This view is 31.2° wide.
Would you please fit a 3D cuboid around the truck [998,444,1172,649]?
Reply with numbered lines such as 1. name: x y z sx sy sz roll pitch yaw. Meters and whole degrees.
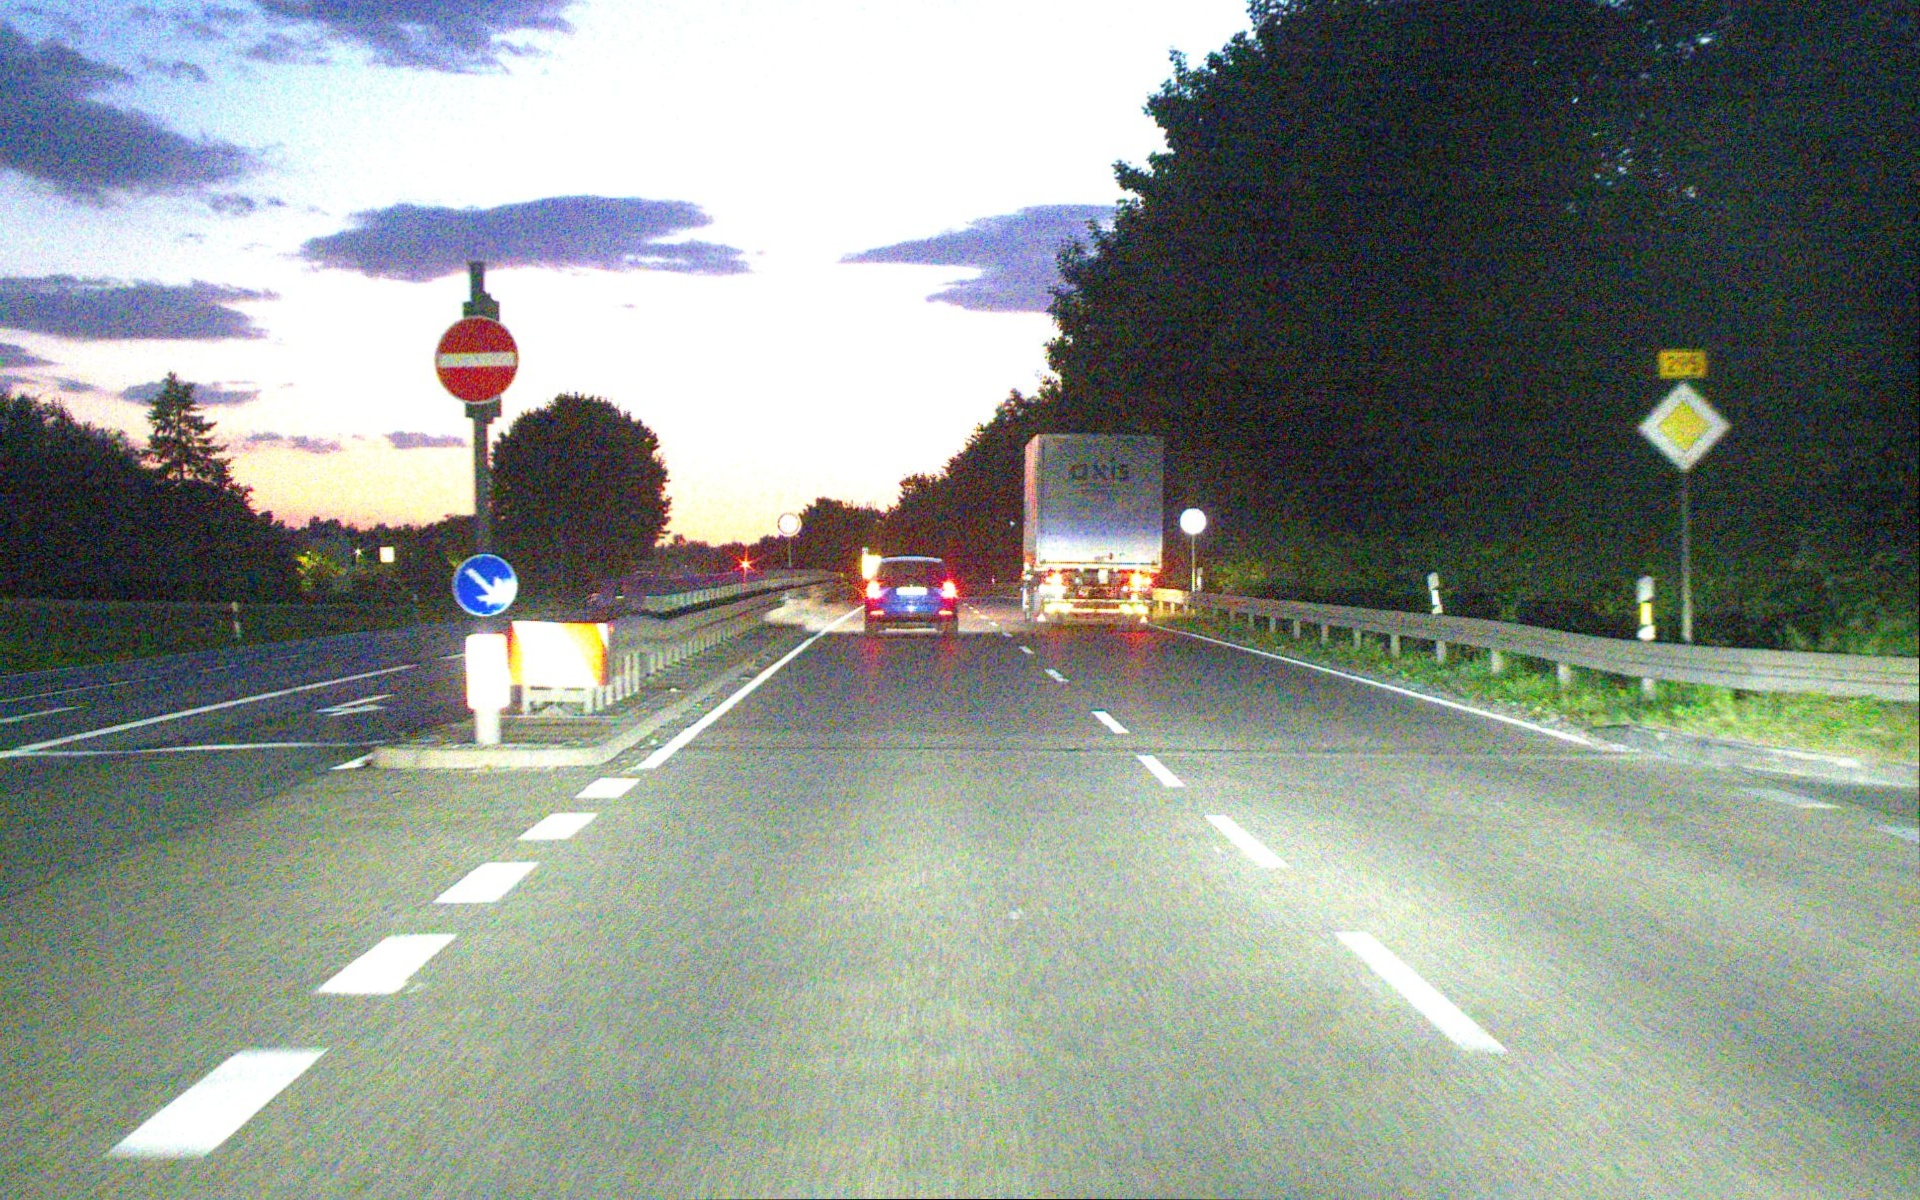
1. truck: 2.576 -1.109 75.321 2.883 4.092 12.684 0 0 -2

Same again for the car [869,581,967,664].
1. car: -0.794 0.392 63.051 1.695 1.447 3.914 0 0 -2
